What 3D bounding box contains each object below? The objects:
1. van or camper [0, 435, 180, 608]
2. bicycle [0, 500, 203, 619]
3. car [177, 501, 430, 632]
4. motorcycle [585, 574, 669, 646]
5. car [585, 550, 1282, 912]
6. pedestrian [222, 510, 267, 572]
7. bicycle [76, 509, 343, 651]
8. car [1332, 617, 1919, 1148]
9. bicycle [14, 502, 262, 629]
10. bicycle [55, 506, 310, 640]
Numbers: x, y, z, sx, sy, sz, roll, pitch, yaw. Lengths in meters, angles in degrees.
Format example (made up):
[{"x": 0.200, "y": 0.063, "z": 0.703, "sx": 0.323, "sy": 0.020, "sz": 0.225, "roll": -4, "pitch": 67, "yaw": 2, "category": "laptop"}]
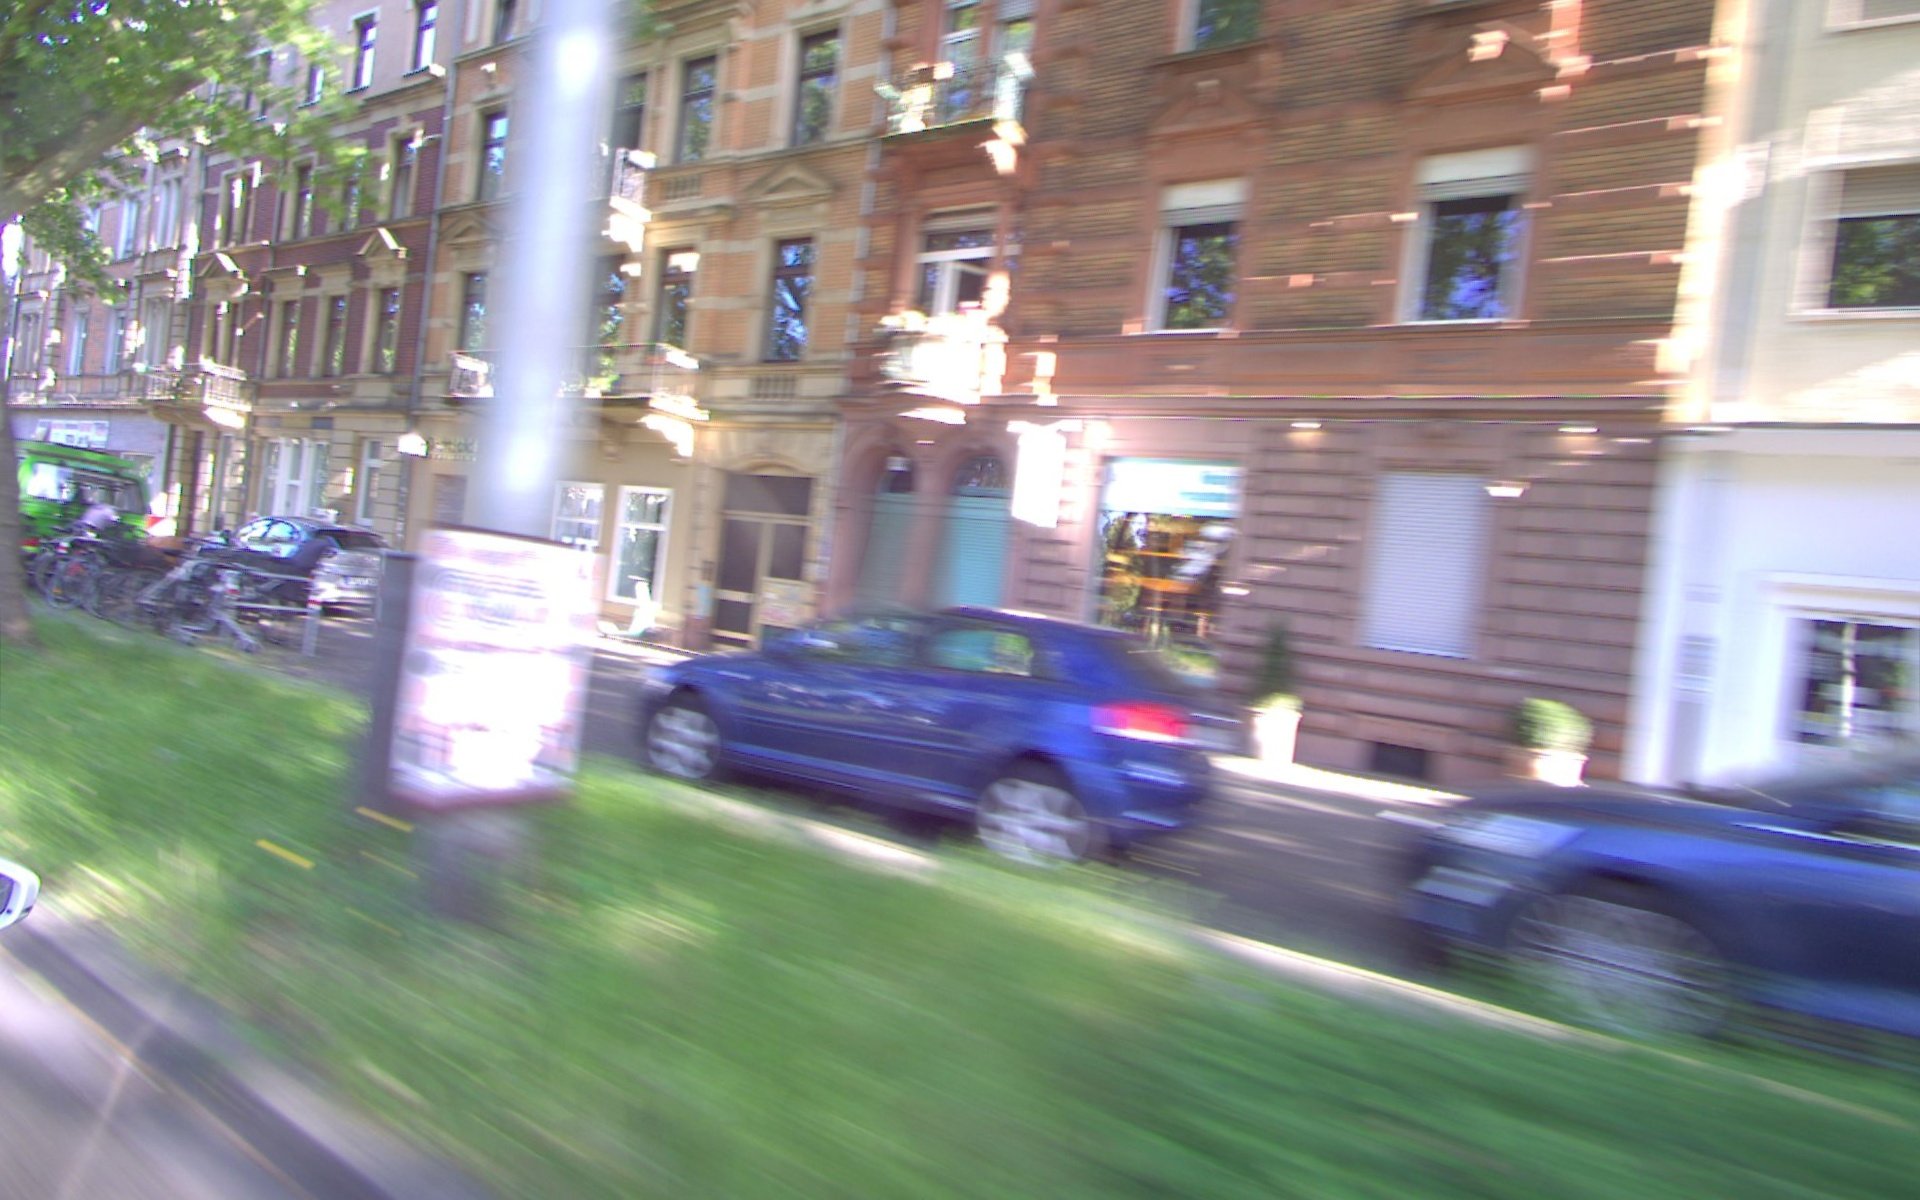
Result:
[{"x": -14.332, "y": -1.280, "z": 15.467, "sx": 4.693, "sy": 2.120, "sz": 1.839, "roll": 7, "pitch": -3, "yaw": 30, "category": "van or camper"}, {"x": -11.847, "y": -0.540, "z": 13.410, "sx": 0.957, "sy": 1.309, "sz": 2.557, "roll": 7, "pitch": -2, "yaw": 25, "category": "bicycle"}, {"x": -10.996, "y": -0.586, "z": 16.794, "sx": 4.115, "sy": 1.596, "sz": 1.759, "roll": 7, "pitch": -3, "yaw": 31, "category": "car"}, {"x": -6.028, "y": 0.183, "z": 18.207, "sx": 1.269, "sy": 1.138, "sz": 0.505, "roll": 7, "pitch": 1, "yaw": 16, "category": "motorcycle"}, {"x": -0.270, "y": 0.680, "z": 6.620, "sx": 4.123, "sy": 1.422, "sz": 1.839, "roll": 7, "pitch": -3, "yaw": 32, "category": "car"}, {"x": -18.668, "y": -1.530, "z": 26.259, "sx": 0.755, "sy": 1.494, "sz": 0.598, "roll": 7, "pitch": 0, "yaw": 33, "category": "pedestrian"}, {"x": -8.574, "y": -0.190, "z": 11.607, "sx": 0.967, "sy": 1.309, "sz": 2.167, "roll": 7, "pitch": -2, "yaw": 33, "category": "bicycle"}, {"x": 4.018, "y": 1.160, "z": 3.812, "sx": 4.506, "sy": 1.526, "sz": 1.697, "roll": 8, "pitch": 0, "yaw": 32, "category": "car"}, {"x": -10.521, "y": -0.396, "z": 13.001, "sx": 0.965, "sy": 1.309, "sz": 2.172, "roll": 7, "pitch": -2, "yaw": 21, "category": "bicycle"}, {"x": -9.451, "y": -0.283, "z": 12.333, "sx": 0.966, "sy": 1.309, "sz": 2.168, "roll": 7, "pitch": -2, "yaw": 31, "category": "bicycle"}]
